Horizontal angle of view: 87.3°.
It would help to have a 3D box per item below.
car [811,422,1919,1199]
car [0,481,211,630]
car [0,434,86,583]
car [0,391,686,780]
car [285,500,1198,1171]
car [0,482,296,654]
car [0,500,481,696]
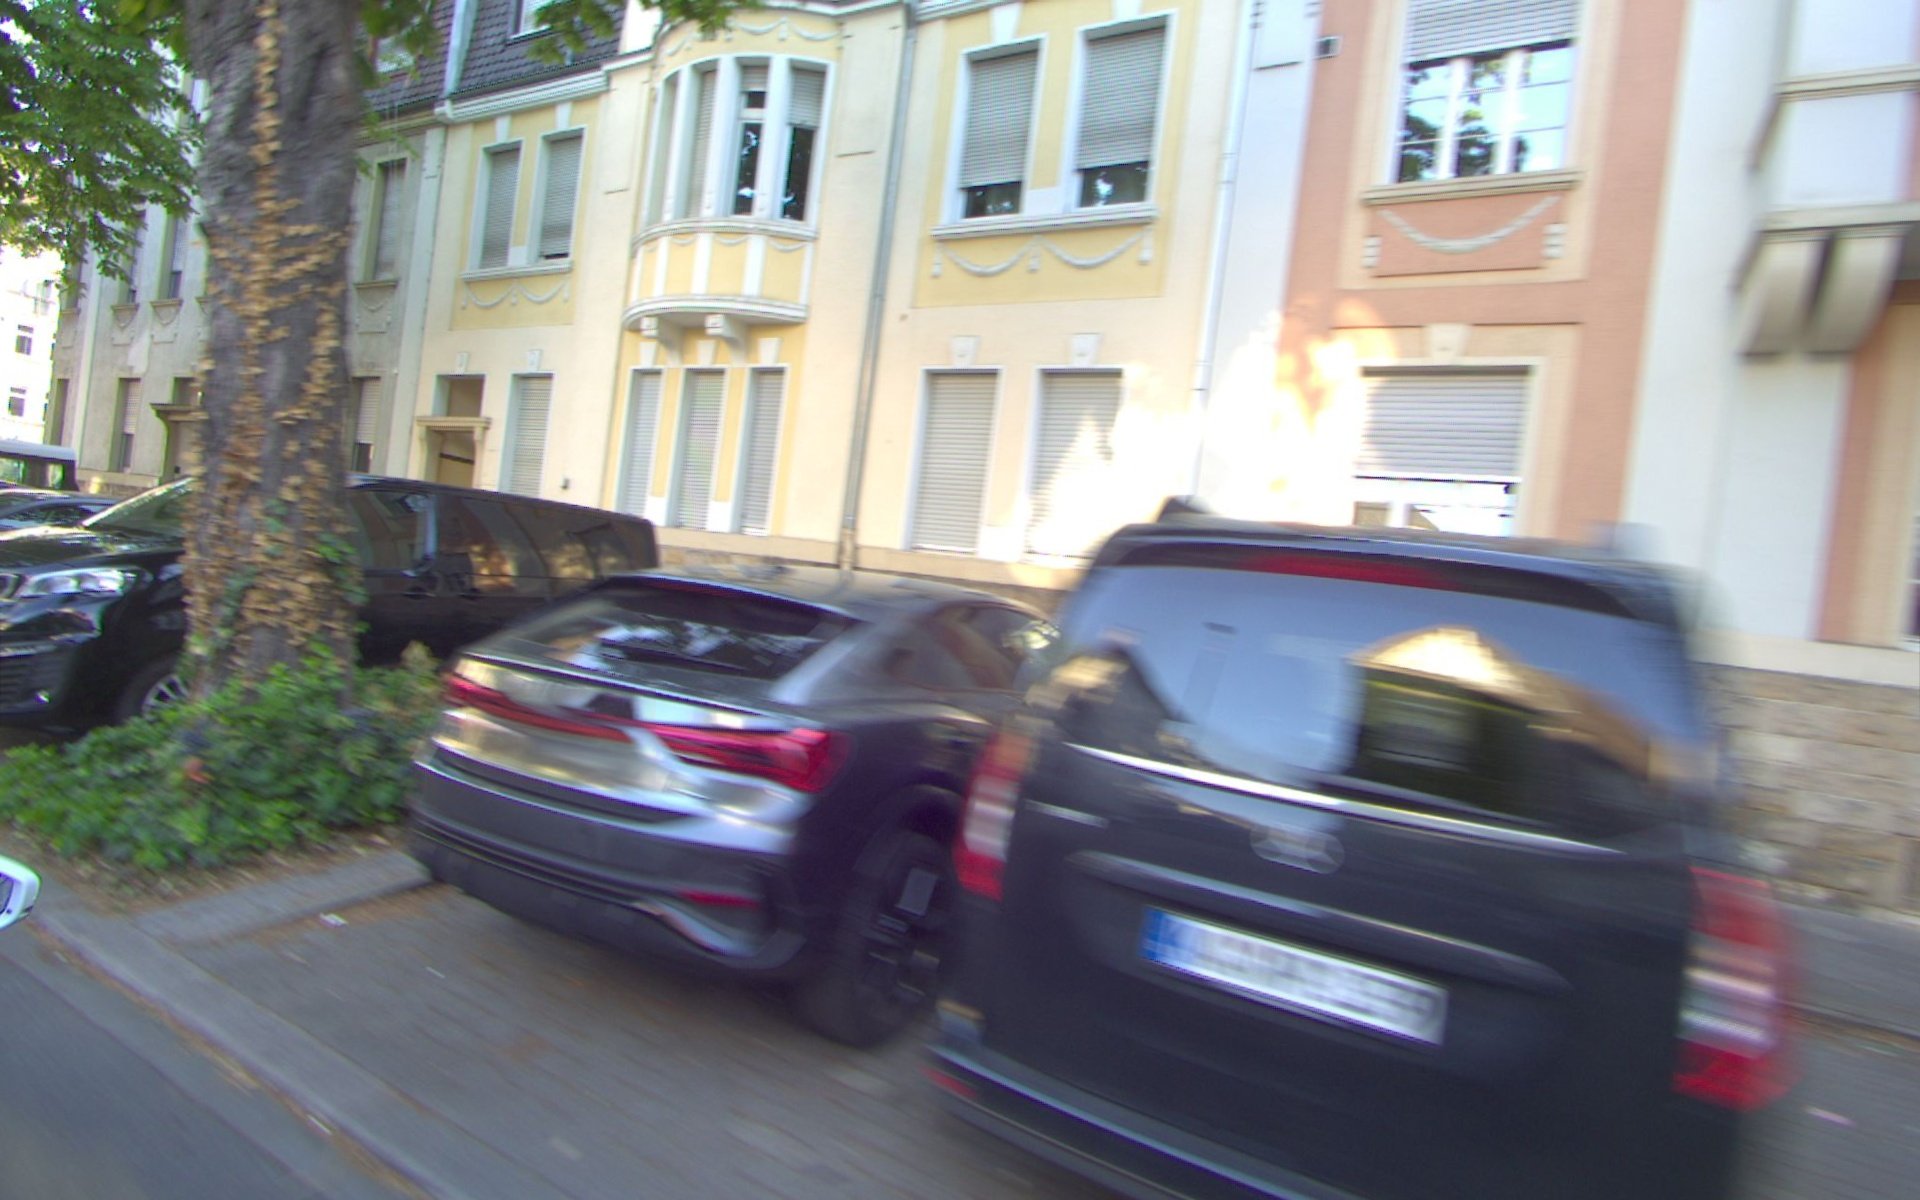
[{"bbox_3d":[1.509,0.737,3.687,1.813,1.860,4.117,7,0,28],"label":"car"},{"bbox_3d":[-10.552,-0.566,10.691,1.679,1.470,3.730,7,0,27],"label":"car"},{"bbox_3d":[-15.104,-1.497,13.666,1.671,2.061,4.473,7,0,27],"label":"car"},{"bbox_3d":[-4.451,-0.038,7.413,1.864,1.898,4.759,7,0,26],"label":"car"},{"bbox_3d":[-0.338,0.664,4.905,1.812,1.542,4.518,7,0,26],"label":"car"},{"bbox_3d":[-8.852,-0.350,9.371,1.693,1.470,4.061,7,0,27],"label":"car"},{"bbox_3d":[-6.591,0.003,8.797,1.601,1.332,4.145,7,0,26],"label":"car"}]
